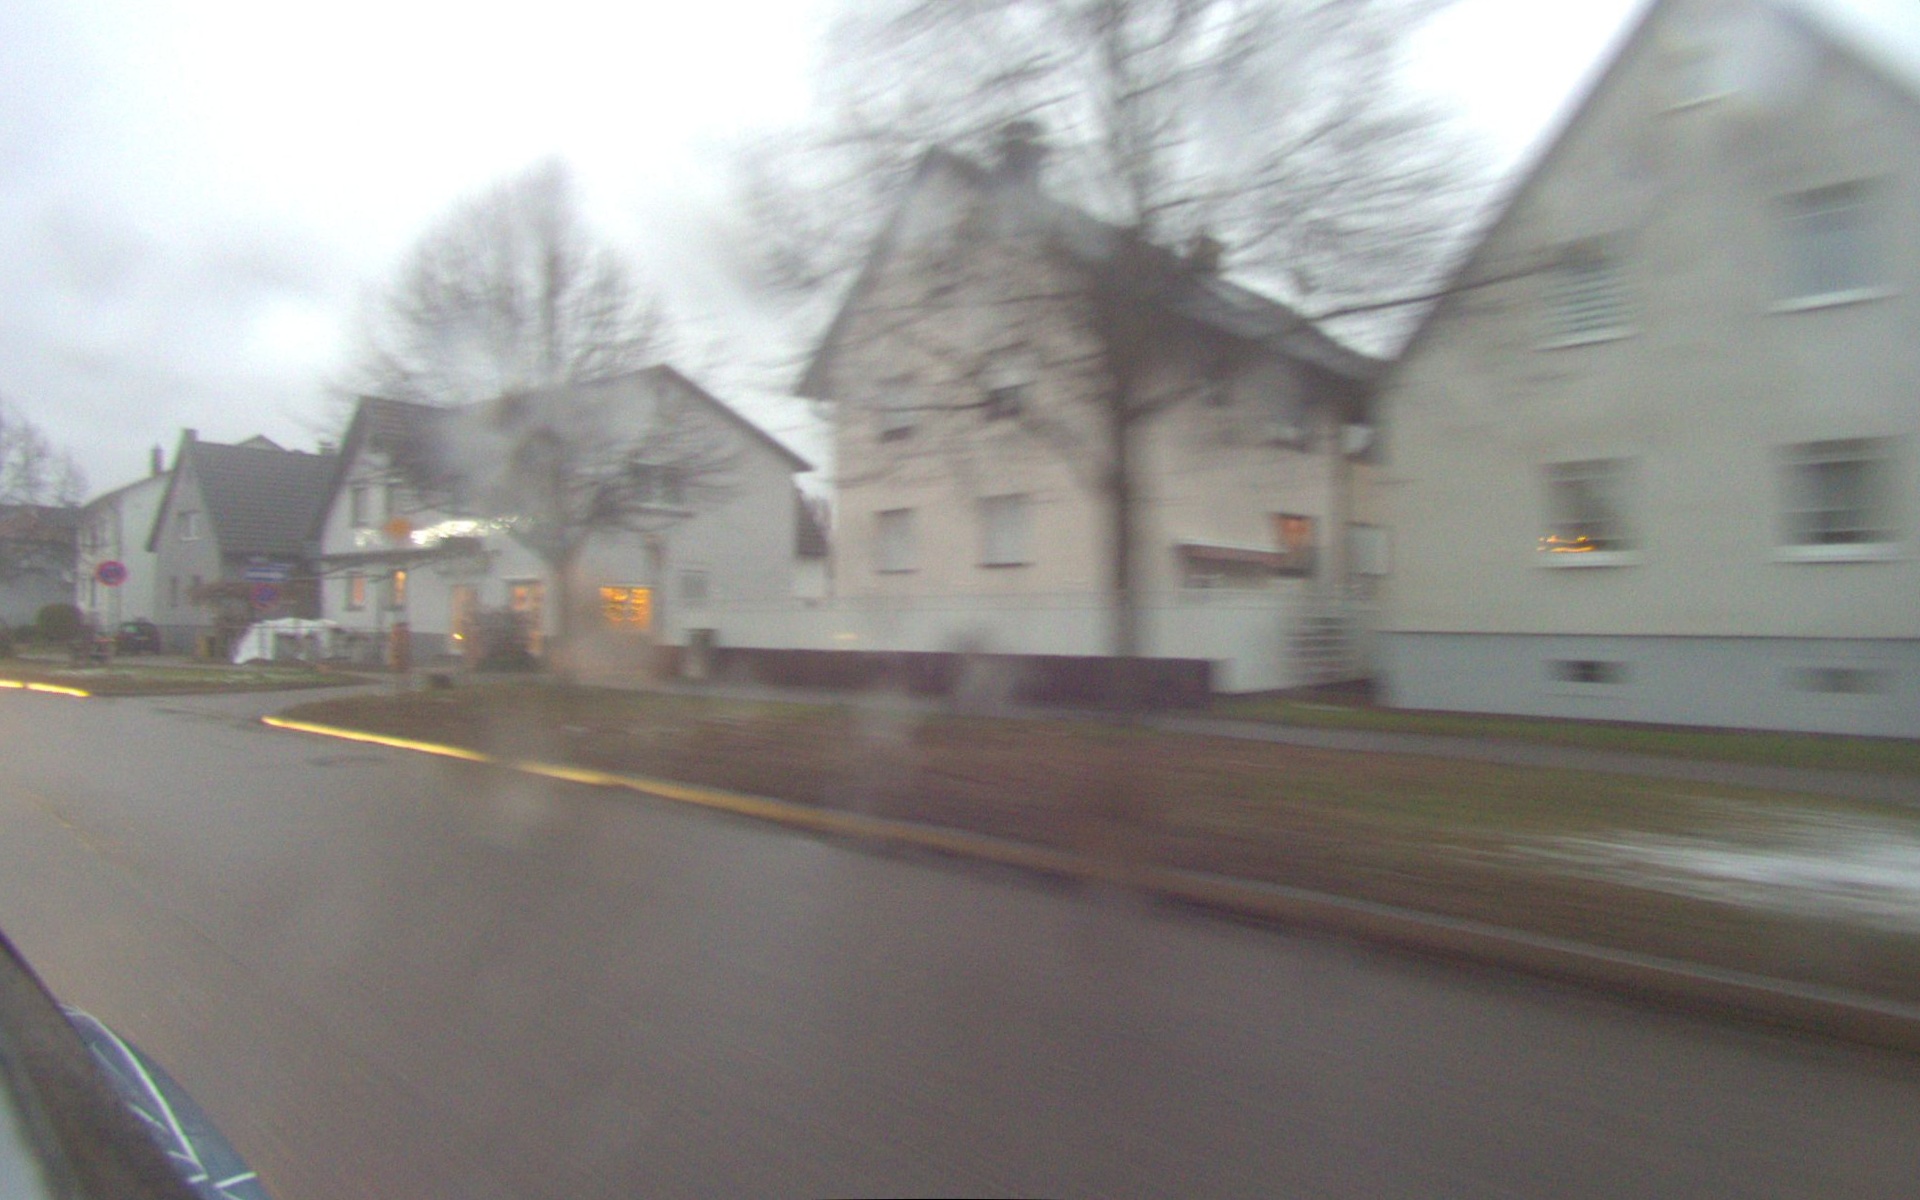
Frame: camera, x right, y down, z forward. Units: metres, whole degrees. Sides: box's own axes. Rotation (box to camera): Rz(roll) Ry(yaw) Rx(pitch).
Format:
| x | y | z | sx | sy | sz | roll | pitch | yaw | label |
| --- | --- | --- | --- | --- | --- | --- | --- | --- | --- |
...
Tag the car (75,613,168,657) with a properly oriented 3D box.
| x | y | z | sx | sy | sz | roll | pitch | yaw | label |
| --- | --- | --- | --- | --- | --- | --- | --- | --- | --- |
| -35.402 | 1.455 | 42.690 | 4.560 | 1.769 | 1.975 | -1 | -2 | 37 | car |
